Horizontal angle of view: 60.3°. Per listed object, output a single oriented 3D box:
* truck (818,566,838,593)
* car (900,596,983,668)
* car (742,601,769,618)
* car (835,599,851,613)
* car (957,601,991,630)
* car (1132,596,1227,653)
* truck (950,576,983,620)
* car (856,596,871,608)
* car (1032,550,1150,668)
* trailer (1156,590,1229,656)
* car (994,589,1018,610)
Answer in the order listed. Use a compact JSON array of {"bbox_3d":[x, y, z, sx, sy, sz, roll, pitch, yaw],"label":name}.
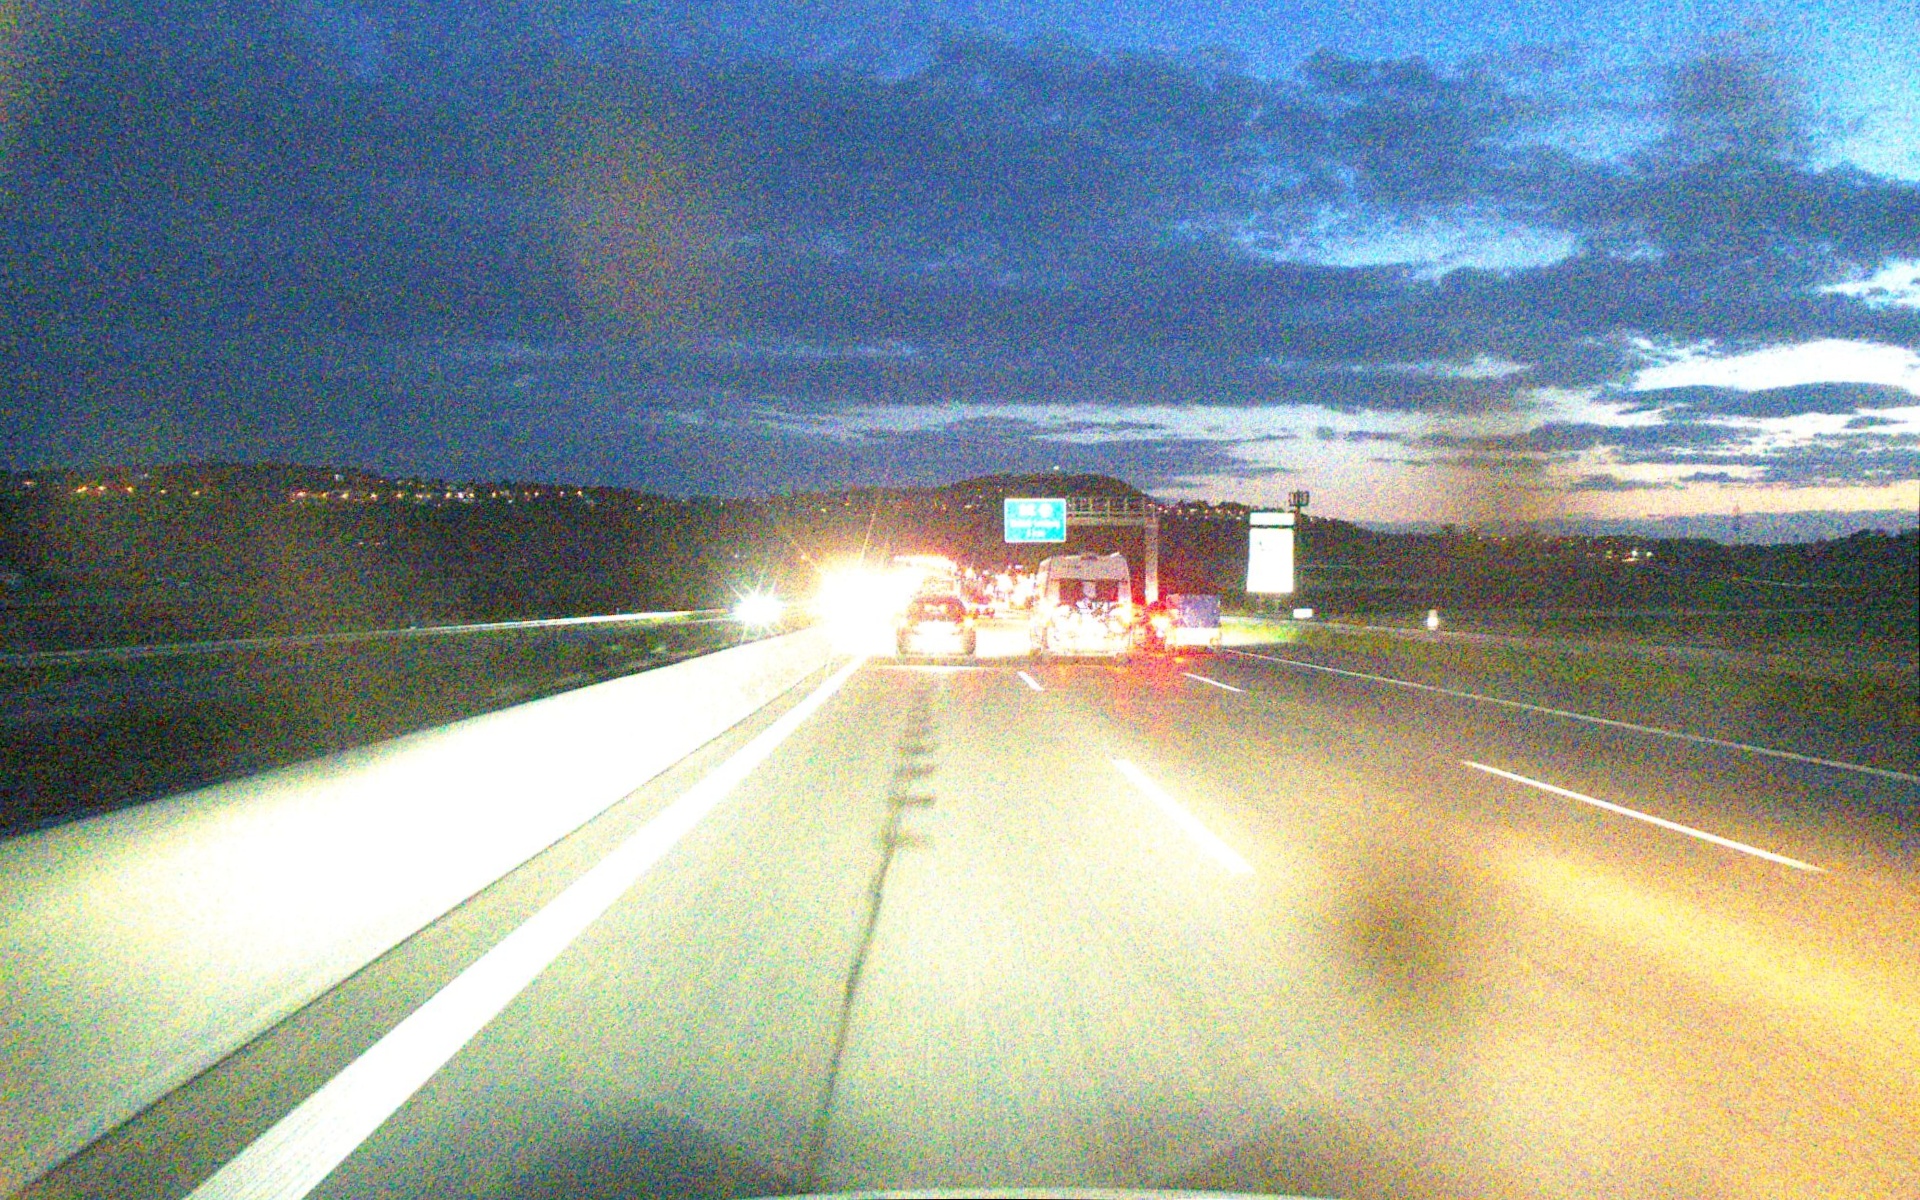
[{"bbox_3d":[-20.526,-3.098,256.562,2.725,4.024,7.989,-1,0,-2],"label":"truck"},{"bbox_3d":[-0.408,0.672,37.034,1.757,1.494,3.772,1,1,-1],"label":"car"},{"bbox_3d":[-18.991,0.884,153.780,1.953,1.504,5.043,-3,0,-2],"label":"car"},{"bbox_3d":[-14.822,0.736,210.006,1.775,1.671,4.157,-1,0,-1],"label":"car"},{"bbox_3d":[0.997,1.094,117.033,2.303,1.947,4.722,-1,0,-1],"label":"car"},{"bbox_3d":[6.353,0.675,48.421,2.119,1.591,4.722,0,0,-1],"label":"car"},{"bbox_3d":[0.584,-0.208,156.547,2.725,4.024,7.989,-1,0,-2],"label":"truck"},{"bbox_3d":[-12.848,0.269,220.724,1.775,1.671,4.157,-1,0,-1],"label":"car"},{"bbox_3d":[3.031,0.163,39.502,2.303,2.579,5.700,-1,1,-1],"label":"car"},{"bbox_3d":[6.275,0.596,44.798,1.534,1.723,2.820,0,0,-1],"label":"trailer"},{"bbox_3d":[4.737,-0.036,171.296,2.303,2.112,4.722,-1,1,-1],"label":"car"}]
